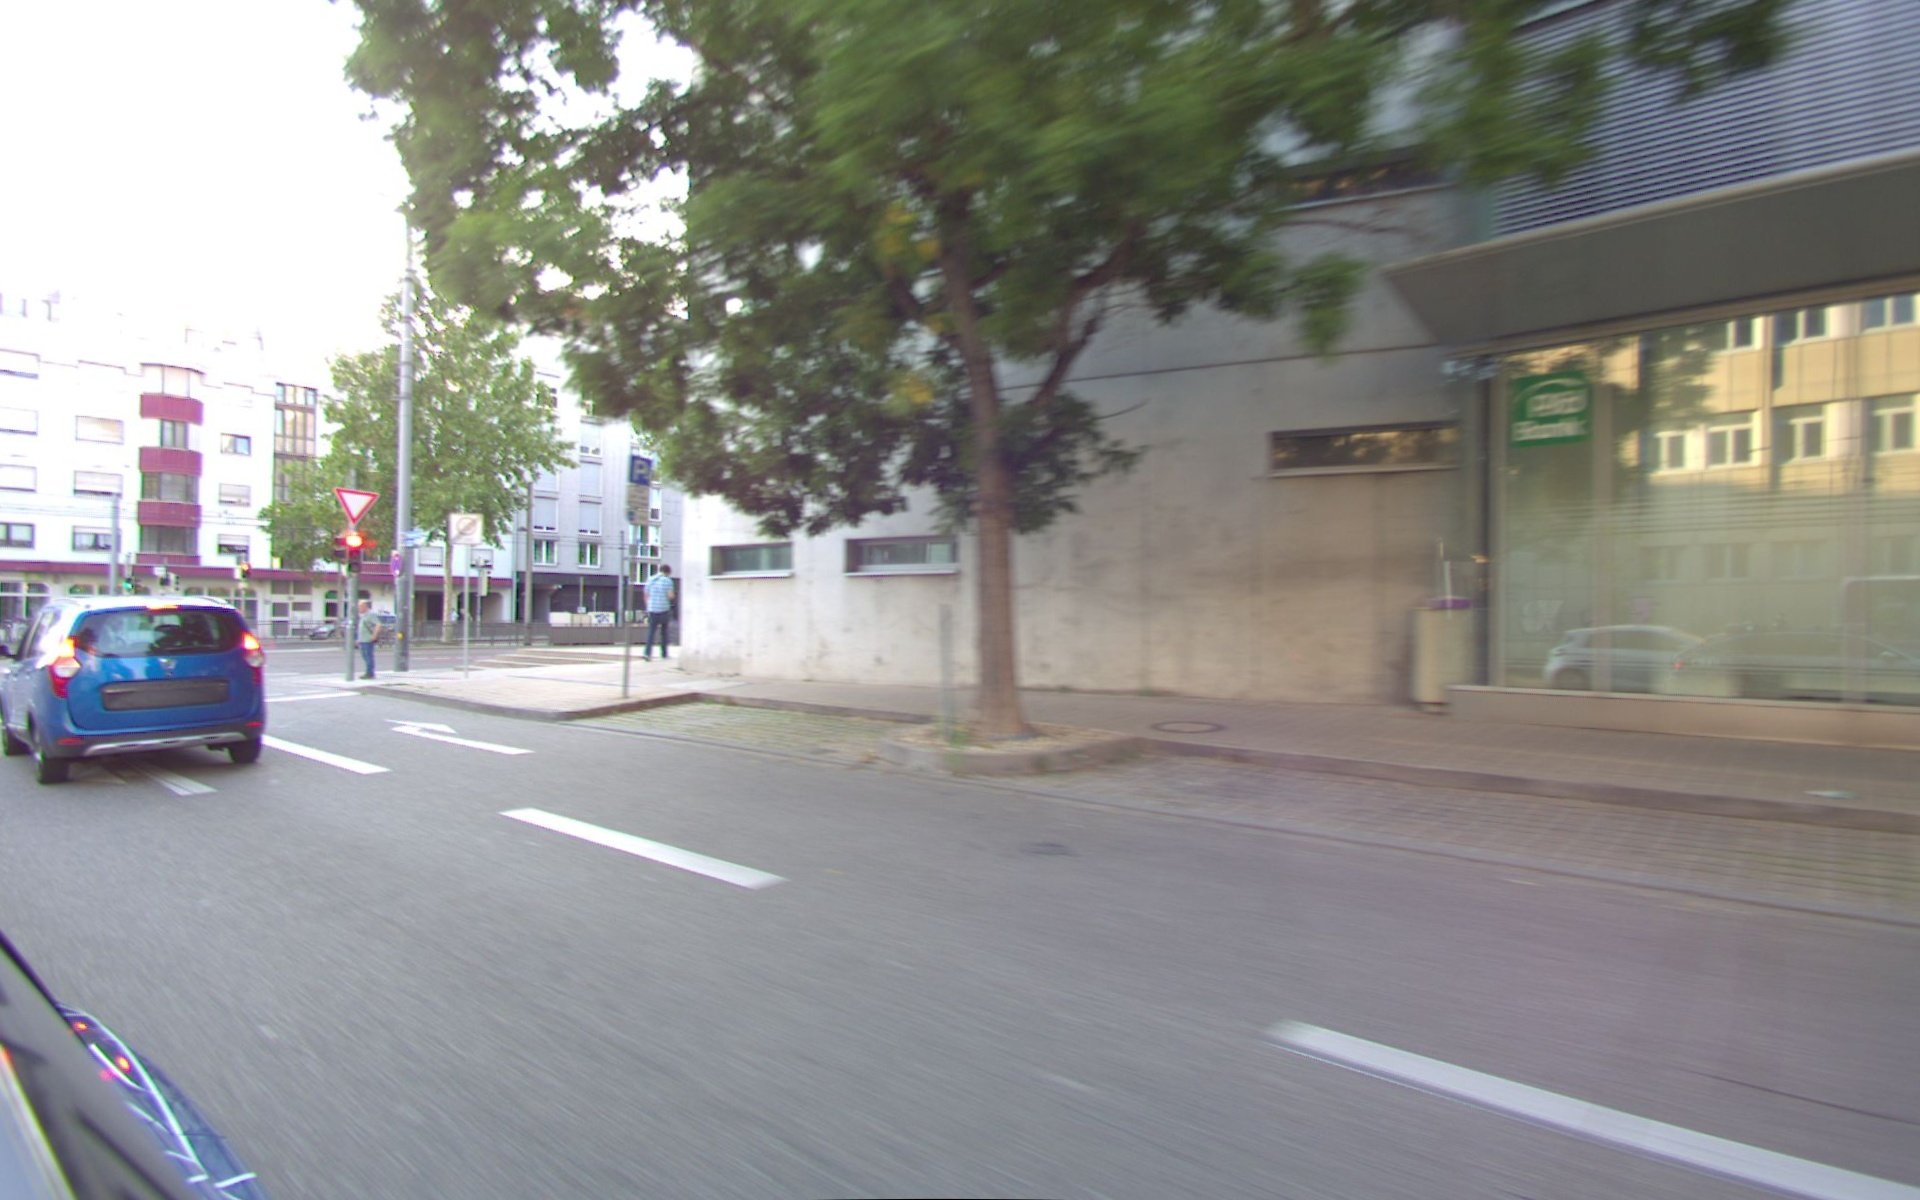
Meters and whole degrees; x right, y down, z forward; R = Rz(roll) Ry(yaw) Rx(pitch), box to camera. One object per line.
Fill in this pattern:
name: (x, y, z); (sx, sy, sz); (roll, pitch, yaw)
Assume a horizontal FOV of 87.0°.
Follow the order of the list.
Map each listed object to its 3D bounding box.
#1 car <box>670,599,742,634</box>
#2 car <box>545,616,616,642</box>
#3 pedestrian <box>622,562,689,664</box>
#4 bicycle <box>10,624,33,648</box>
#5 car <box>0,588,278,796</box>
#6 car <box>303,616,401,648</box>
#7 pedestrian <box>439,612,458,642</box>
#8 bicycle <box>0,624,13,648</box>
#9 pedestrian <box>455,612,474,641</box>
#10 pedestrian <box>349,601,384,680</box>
car: (-19.003, 1.273, 75.869); (1.851, 2.560, 5.011); (-1, -2, 42)
car: (-24.628, 1.869, 65.779); (1.665, 1.608, 4.045); (-1, -2, 41)
pedestrian: (-5.964, 0.246, 19.837); (0.697, 1.896, 0.870); (-2, 4, 29)
bicycle: (-43.175, 1.644, 46.544); (1.901, 1.054, 0.508); (-1, -2, 39)
car: (-8.574, 0.783, 10.329); (4.272, 1.691, 1.729); (-1, -1, 42)
car: (-31.566, 1.676, 52.652); (1.665, 1.608, 4.045); (-1, -2, 41)
pedestrian: (-31.449, 1.672, 62.253); (0.692, 1.820, 0.824); (-1, -2, 43)
bicycle: (-43.771, 1.629, 46.217); (1.901, 1.054, 0.508); (-1, -2, 39)
pedestrian: (-31.101, 1.682, 63.503); (0.692, 1.820, 0.824); (-1, -2, 43)
pedestrian: (-13.086, 0.879, 22.339); (0.537, 1.714, 0.710); (1, -2, -21)
